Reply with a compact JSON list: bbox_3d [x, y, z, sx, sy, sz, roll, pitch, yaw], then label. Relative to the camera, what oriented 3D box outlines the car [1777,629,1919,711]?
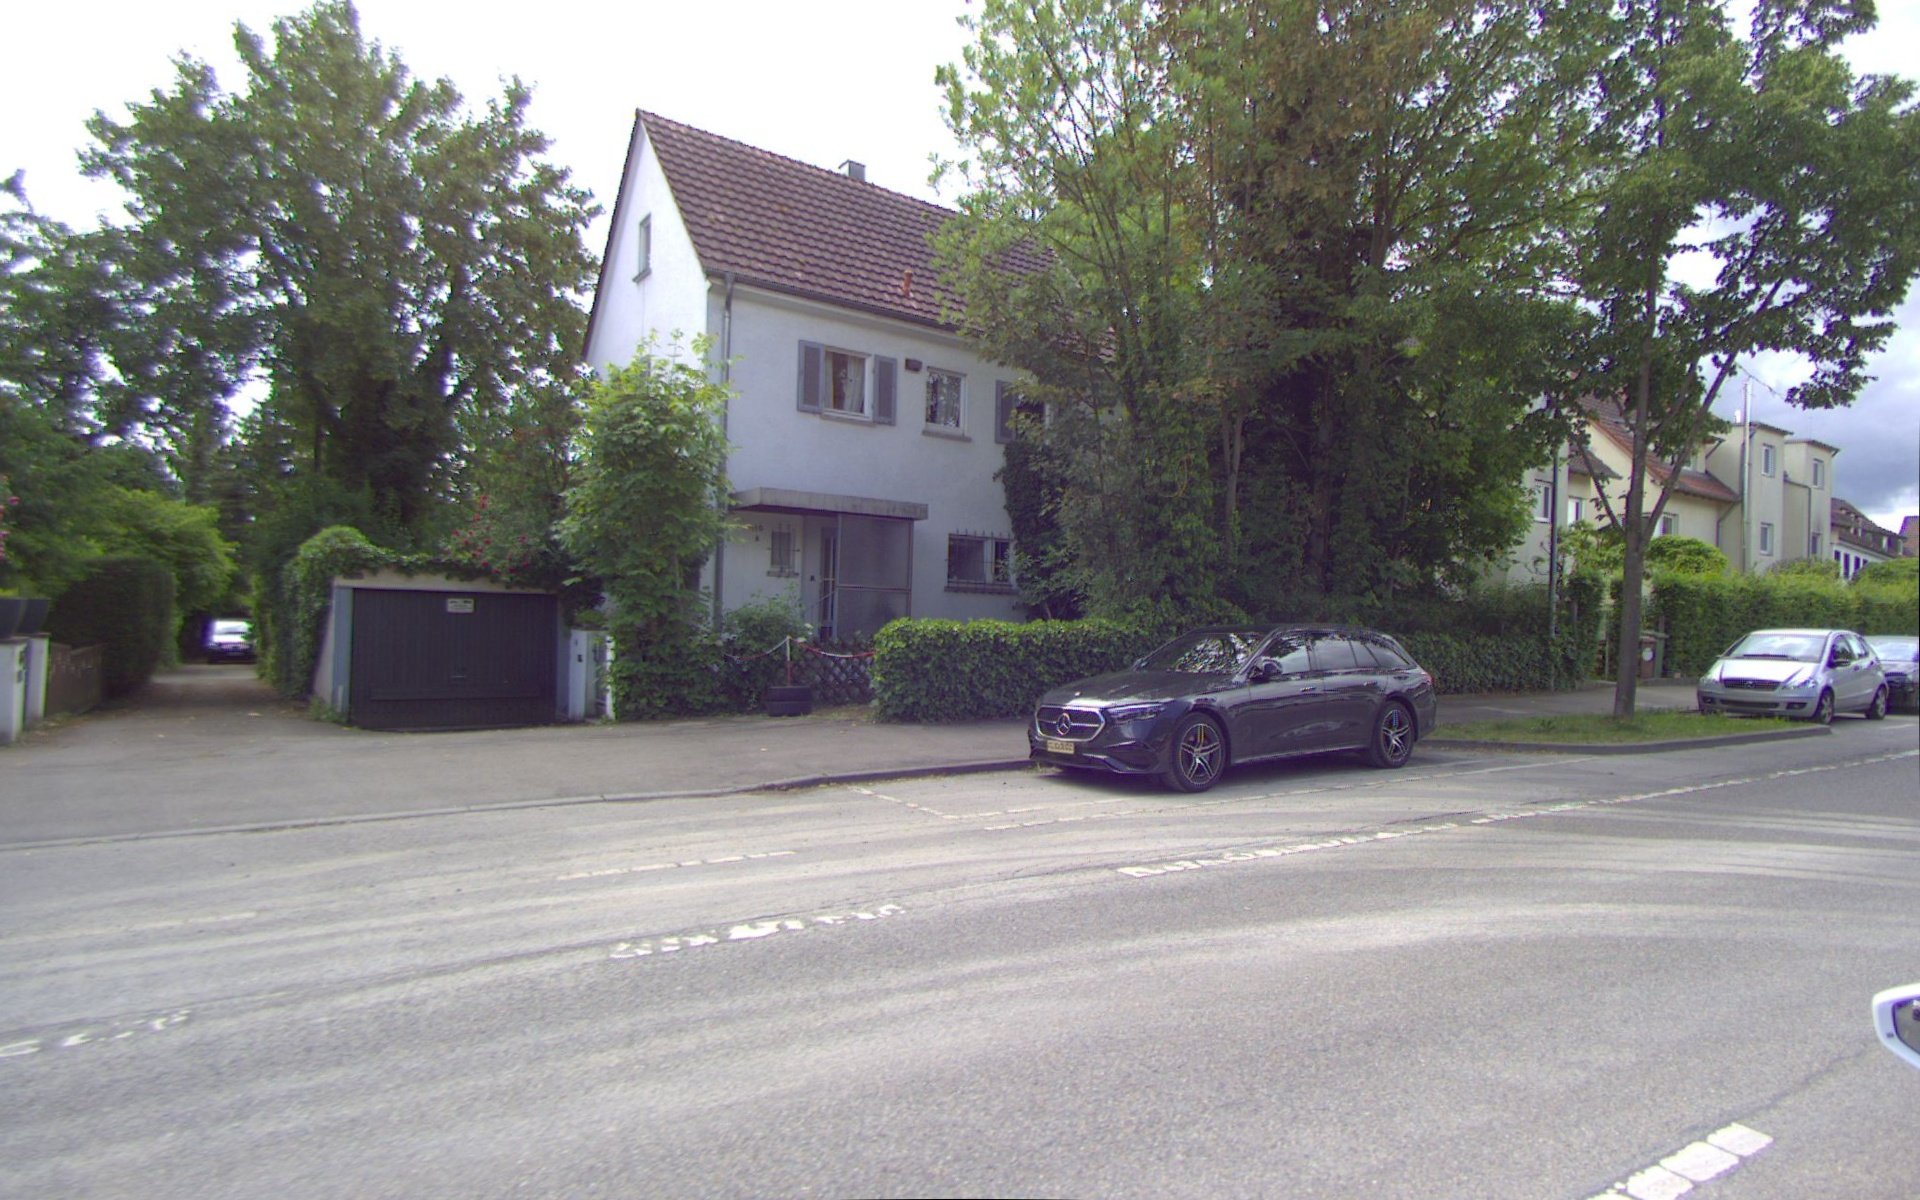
[{"bbox_3d":[19.165,1.392,20.996,4.841,1.504,1.981,2,-2,-35],"label":"car"}]

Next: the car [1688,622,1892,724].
[{"bbox_3d":[14.840,1.234,17.919,3.867,1.634,1.709,2,-1,-32],"label":"car"}]

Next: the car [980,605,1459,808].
[{"bbox_3d":[2.839,0.937,10.519,4.985,1.669,2.083,1,-2,-34],"label":"car"}]

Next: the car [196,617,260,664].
[{"bbox_3d":[-30.333,1.638,41.736,1.980,1.790,3.962,1,0,-34],"label":"car"}]
